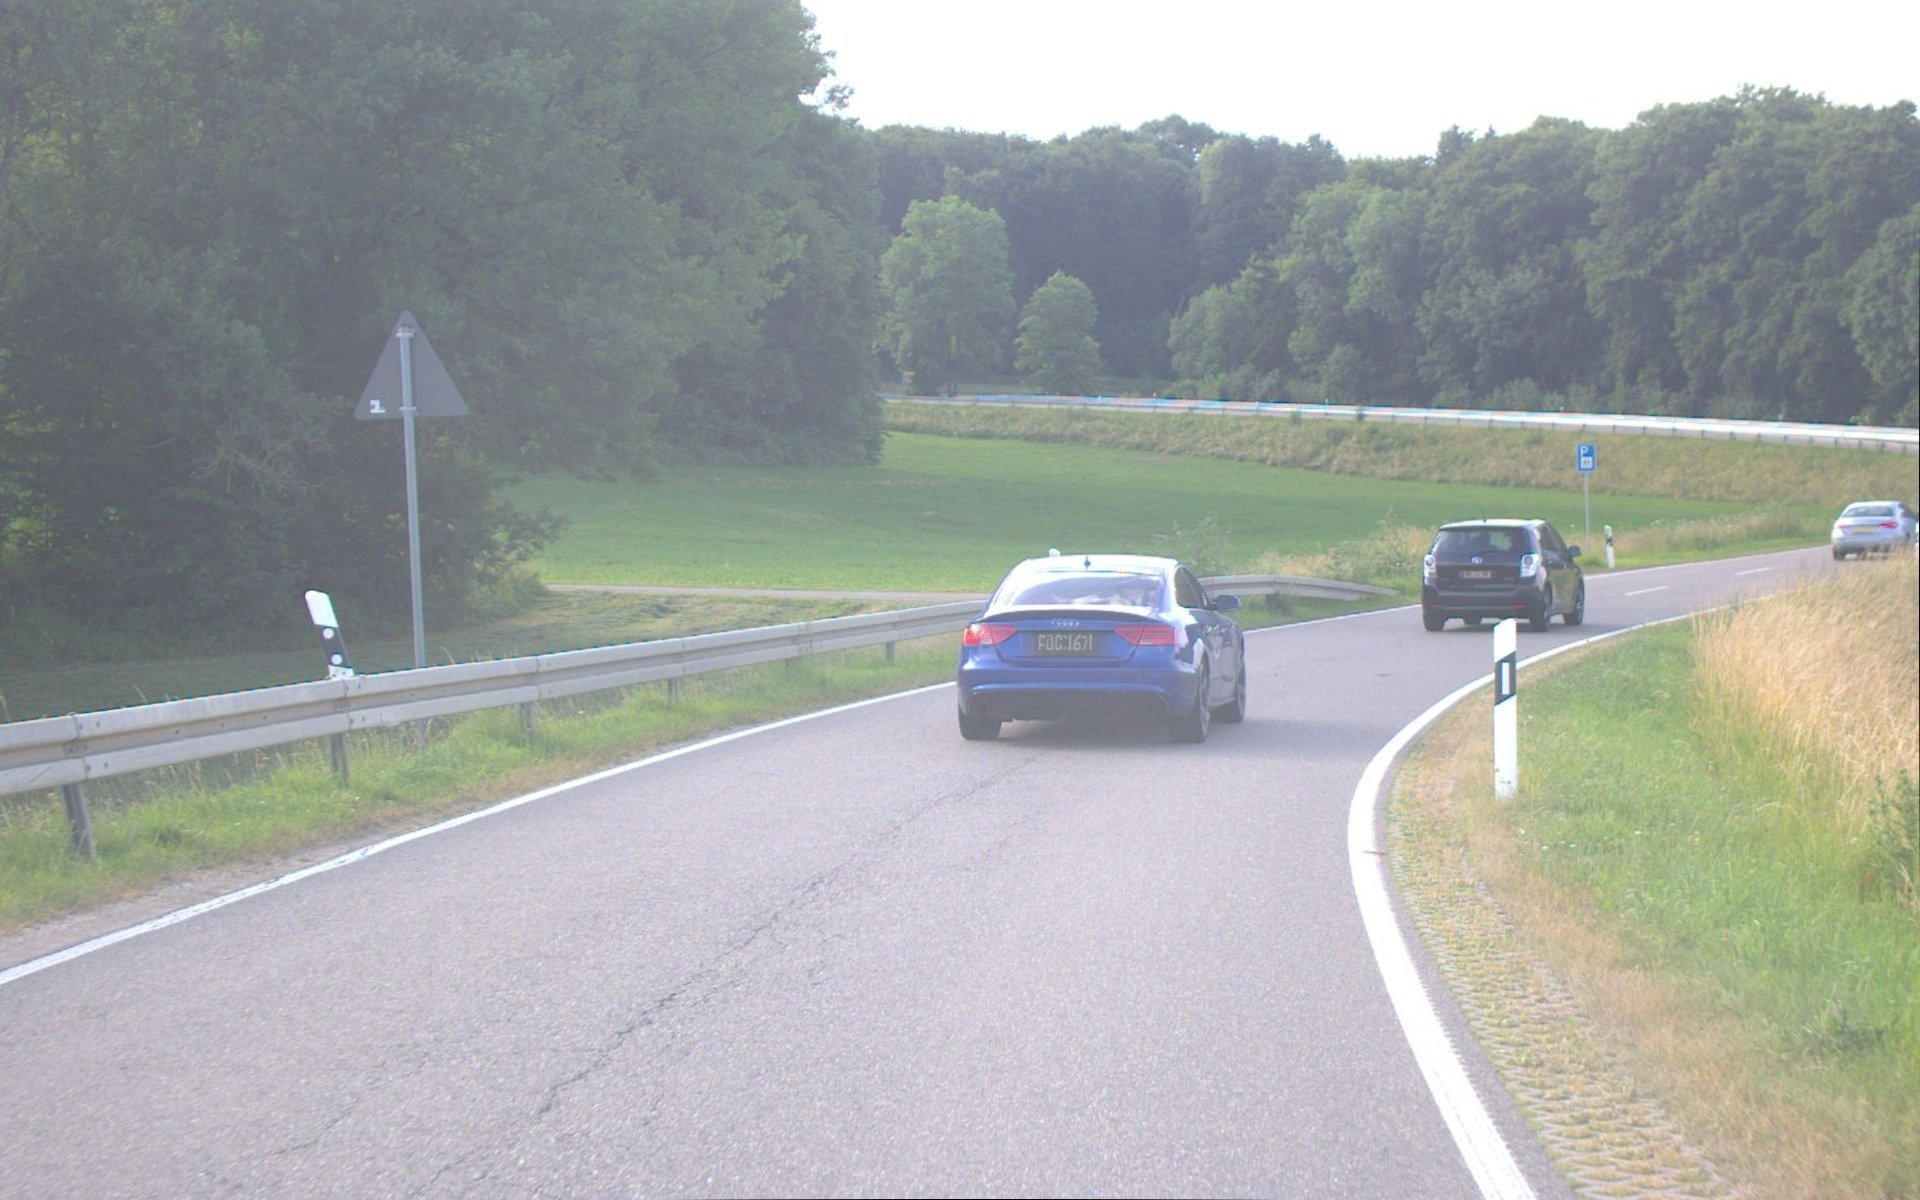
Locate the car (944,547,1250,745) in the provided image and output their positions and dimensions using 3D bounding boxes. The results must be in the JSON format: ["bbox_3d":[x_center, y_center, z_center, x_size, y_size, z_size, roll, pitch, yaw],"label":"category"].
[{"bbox_3d":[1.149,0.298,26.572,1.819,1.334,4.349,-1,1,10],"label":"car"}]

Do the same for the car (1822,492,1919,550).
[{"bbox_3d":[22.876,-1.977,85.768,1.685,1.371,3.994,-2,1,28],"label":"car"}]

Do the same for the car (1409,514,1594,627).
[{"bbox_3d":[7.965,-0.436,50.280,1.864,1.563,3.996,-1,0,21],"label":"car"}]
